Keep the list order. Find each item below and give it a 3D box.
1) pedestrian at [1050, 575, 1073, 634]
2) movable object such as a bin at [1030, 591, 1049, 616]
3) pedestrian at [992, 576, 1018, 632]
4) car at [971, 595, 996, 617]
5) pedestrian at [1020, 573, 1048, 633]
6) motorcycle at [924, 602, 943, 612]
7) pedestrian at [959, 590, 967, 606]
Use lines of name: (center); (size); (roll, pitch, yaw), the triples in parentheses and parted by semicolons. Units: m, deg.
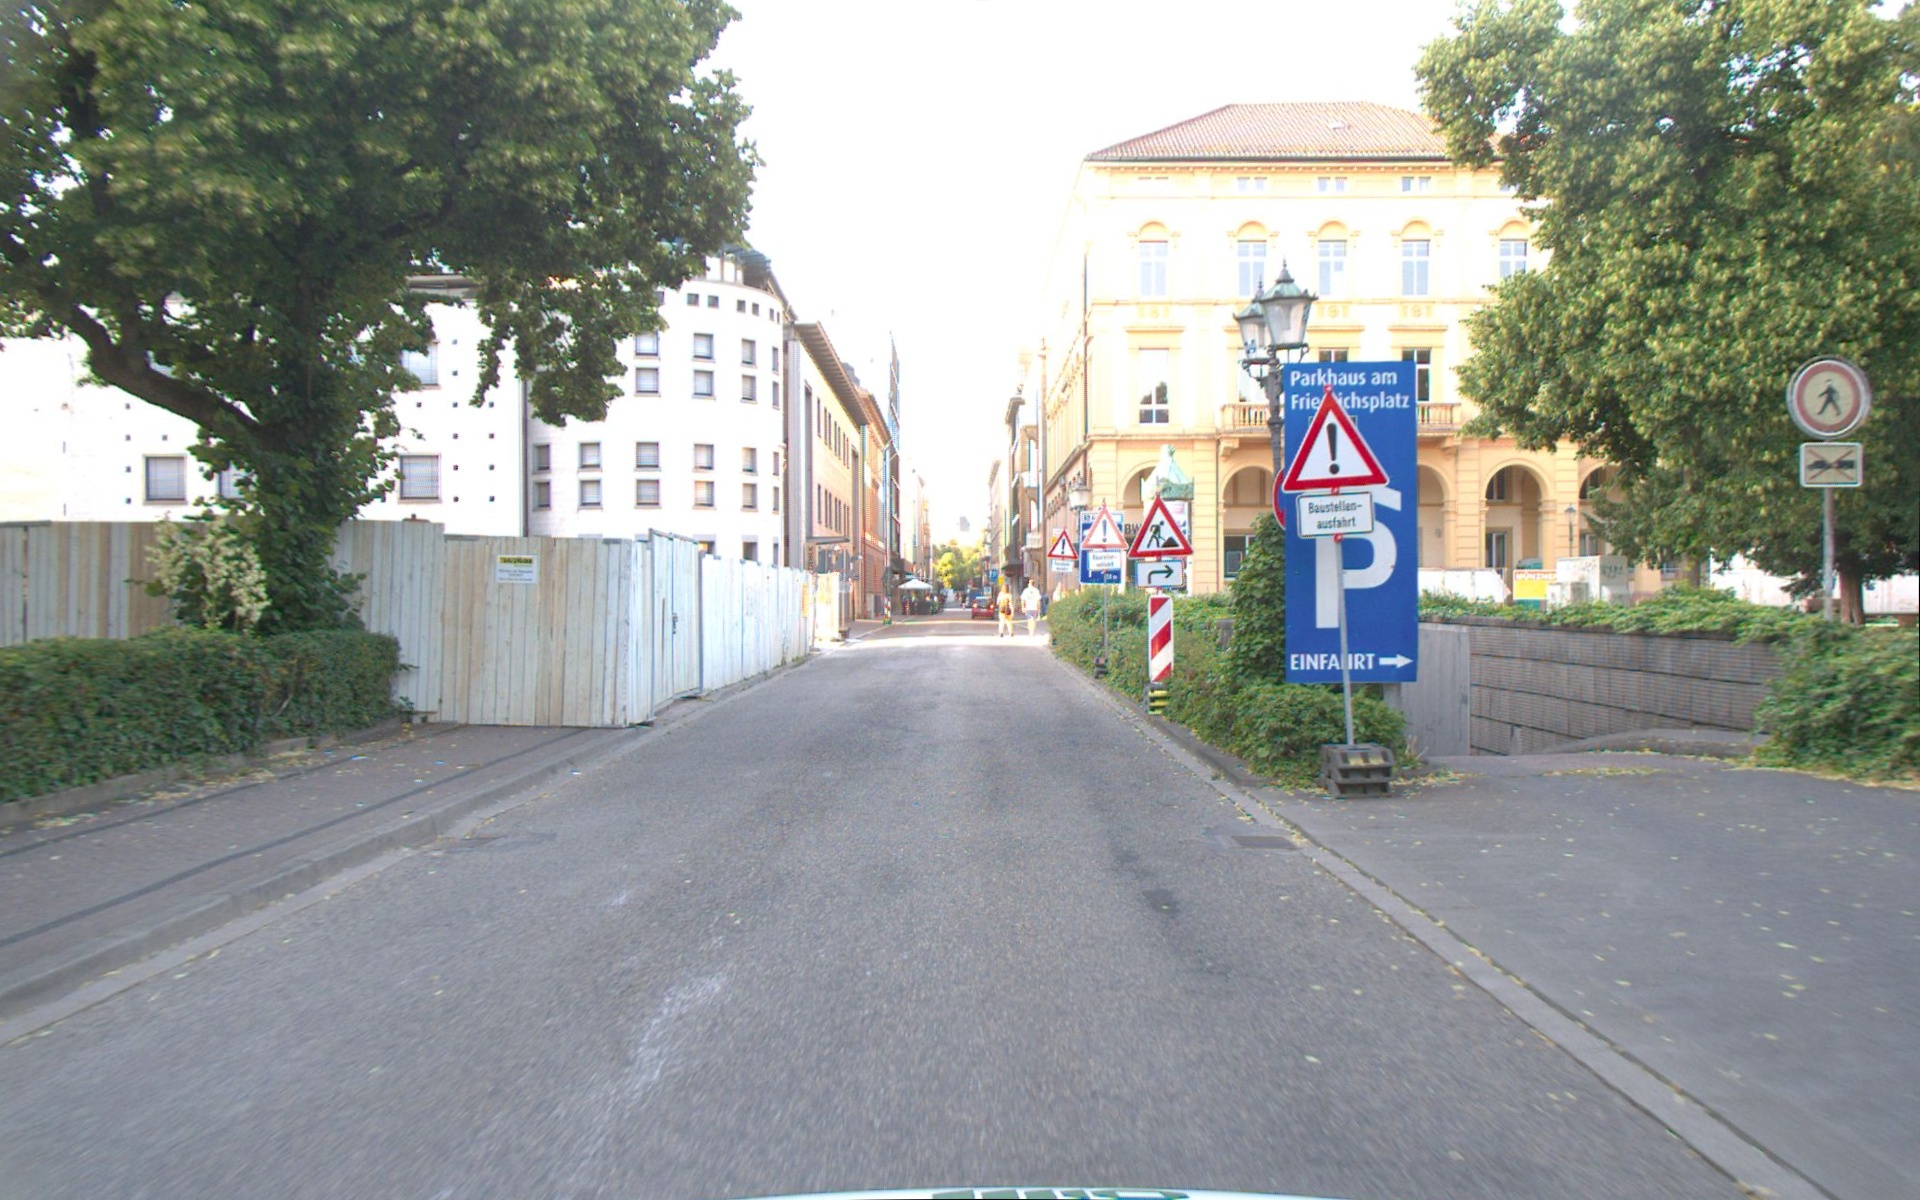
pedestrian: (3.210, 0.136, 52.173); (0.623, 1.835, 0.772); (-1, -1, -1)
movable object such as a bin: (4.480, 0.200, 93.318); (0.970, 1.416, 1.240); (-2, 0, -1)
pedestrian: (1.458, 0.127, 53.224); (0.760, 1.777, 0.875); (-1, -1, -1)
car: (1.606, 0.422, 114.061); (1.615, 1.452, 3.535); (2, 0, 0)
pedestrian: (2.382, 0.112, 53.434); (0.795, 1.908, 0.875); (-1, -1, -1)
motorcycle: (-2.439, 0.681, 154.126); (1.766, 0.891, 0.560); (-1, -1, -4)
pedestrian: (0.365, -0.207, 180.207); (0.788, 1.702, 0.888); (-1, 0, 2)
